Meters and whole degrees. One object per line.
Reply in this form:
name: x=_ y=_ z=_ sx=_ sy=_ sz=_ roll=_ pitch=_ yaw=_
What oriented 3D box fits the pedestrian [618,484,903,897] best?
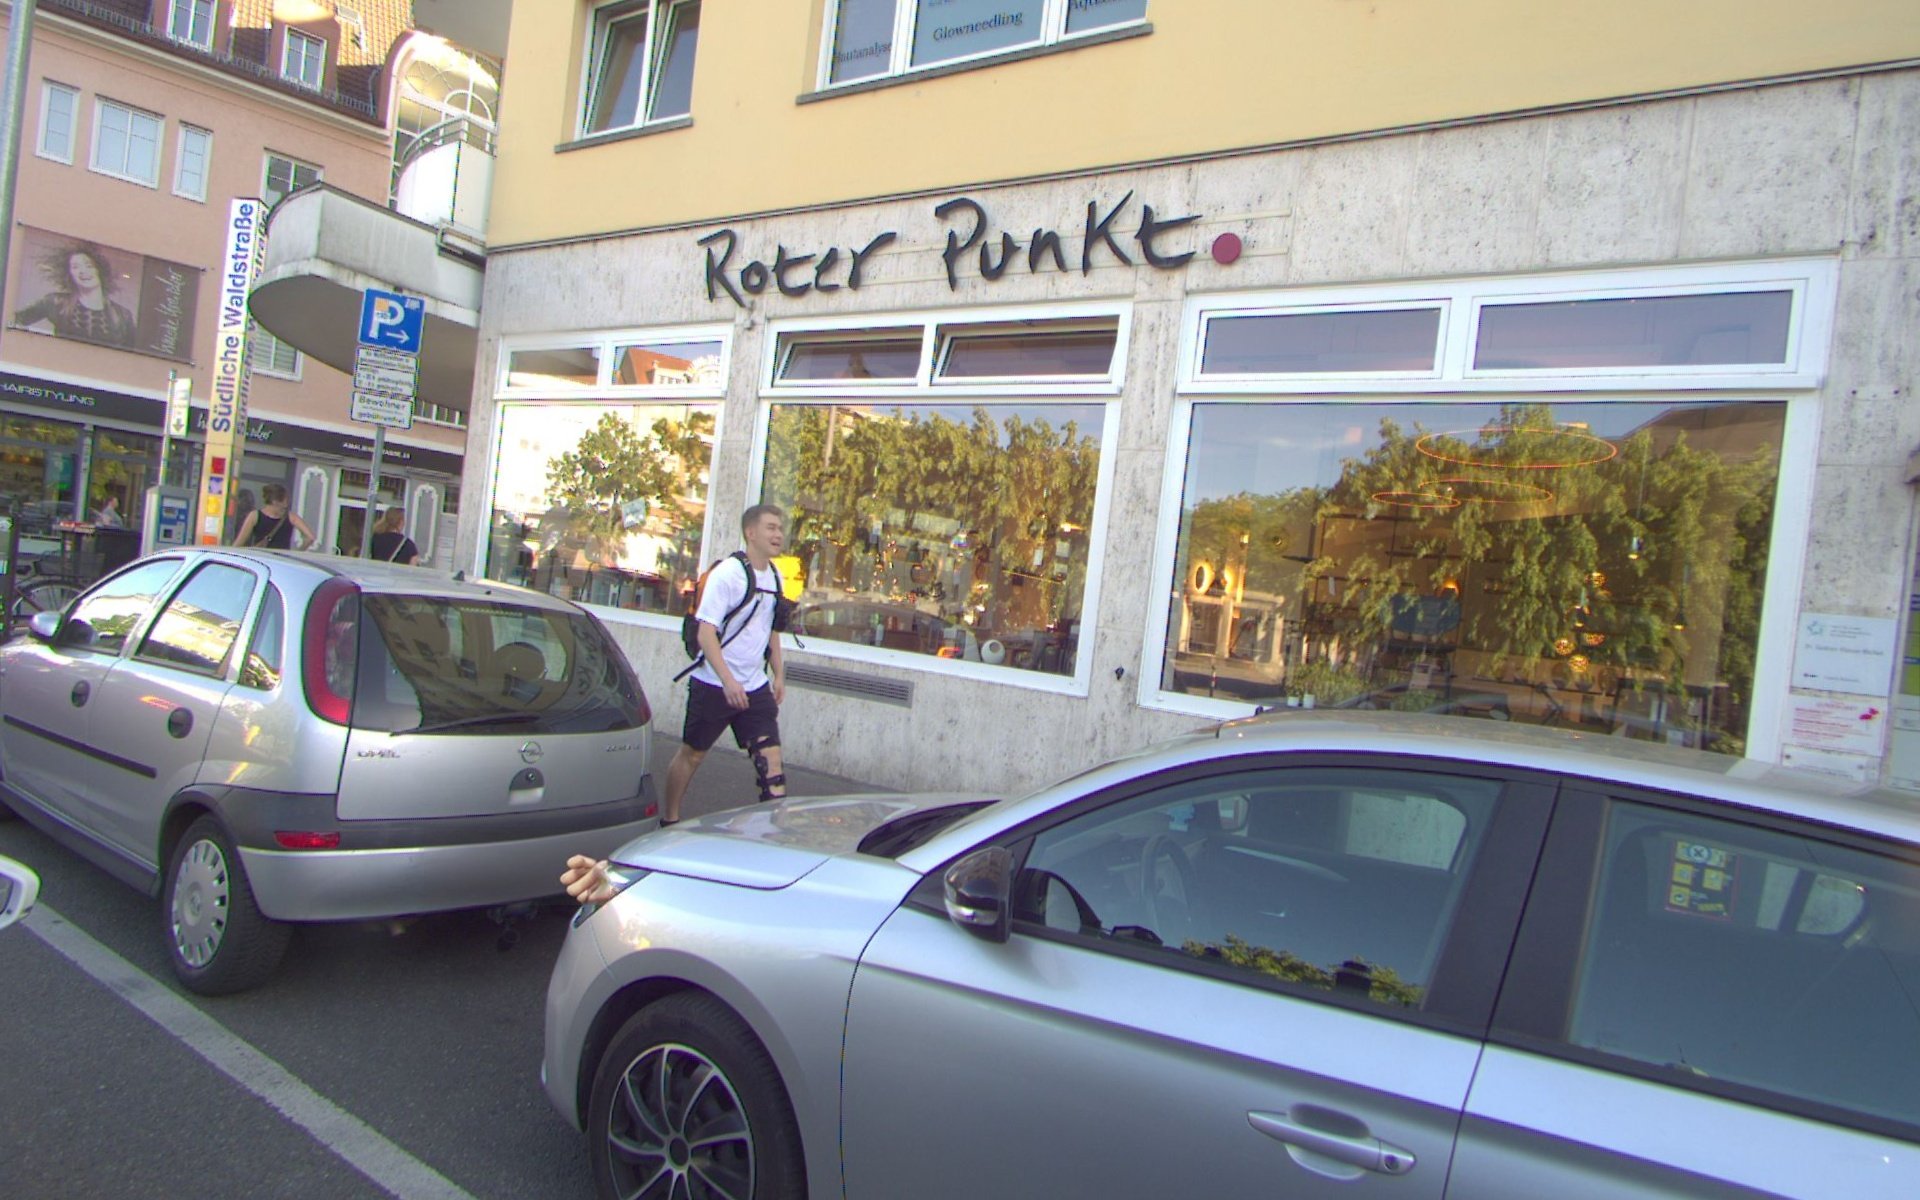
pedestrian: x=-1.008 y=0.406 z=5.116 sx=0.967 sy=1.845 sz=0.809 roll=6 pitch=0 yaw=35

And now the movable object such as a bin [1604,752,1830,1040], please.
movable object such as a bin: x=3.367 y=1.269 z=4.547 sx=0.639 sy=1.035 sz=0.738 roll=6 pitch=-1 yaw=31

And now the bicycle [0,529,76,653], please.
bicycle: x=-9.062 y=-0.147 z=8.798 sx=0.642 sy=1.072 sz=1.816 roll=7 pitch=-1 yaw=33

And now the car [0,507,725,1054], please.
car: x=-2.963 y=0.488 z=4.461 sx=3.520 sy=1.443 sz=1.587 roll=6 pitch=-2 yaw=32

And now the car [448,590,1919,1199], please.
car: x=0.774 y=0.947 z=2.281 sx=3.624 sy=1.453 sz=1.587 roll=6 pitch=-2 yaw=30

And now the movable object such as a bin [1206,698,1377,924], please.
movable object such as a bin: x=1.818 y=1.101 z=5.477 sx=0.639 sy=1.035 sz=0.738 roll=6 pitch=-1 yaw=31

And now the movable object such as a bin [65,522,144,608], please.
movable object such as a bin: x=-11.963 y=-0.486 z=14.065 sx=0.716 sy=1.117 sz=0.636 roll=7 pitch=2 yaw=35

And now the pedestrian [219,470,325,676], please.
pedestrian: x=-6.648 y=-0.253 z=9.709 sx=0.677 sy=1.874 sz=0.883 roll=3 pitch=3 yaw=-41

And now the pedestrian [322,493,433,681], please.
pedestrian: x=-5.815 y=-0.127 z=10.036 sx=0.718 sy=1.777 sz=0.778 roll=3 pitch=2 yaw=-43

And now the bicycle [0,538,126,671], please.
bicycle: x=-8.171 y=0.006 z=8.253 sx=0.642 sy=1.057 sz=1.884 roll=7 pitch=0 yaw=33

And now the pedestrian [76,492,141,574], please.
pedestrian: x=-17.766 y=-1.379 z=21.005 sx=0.715 sy=1.567 sz=0.787 roll=8 pitch=-1 yaw=-27
